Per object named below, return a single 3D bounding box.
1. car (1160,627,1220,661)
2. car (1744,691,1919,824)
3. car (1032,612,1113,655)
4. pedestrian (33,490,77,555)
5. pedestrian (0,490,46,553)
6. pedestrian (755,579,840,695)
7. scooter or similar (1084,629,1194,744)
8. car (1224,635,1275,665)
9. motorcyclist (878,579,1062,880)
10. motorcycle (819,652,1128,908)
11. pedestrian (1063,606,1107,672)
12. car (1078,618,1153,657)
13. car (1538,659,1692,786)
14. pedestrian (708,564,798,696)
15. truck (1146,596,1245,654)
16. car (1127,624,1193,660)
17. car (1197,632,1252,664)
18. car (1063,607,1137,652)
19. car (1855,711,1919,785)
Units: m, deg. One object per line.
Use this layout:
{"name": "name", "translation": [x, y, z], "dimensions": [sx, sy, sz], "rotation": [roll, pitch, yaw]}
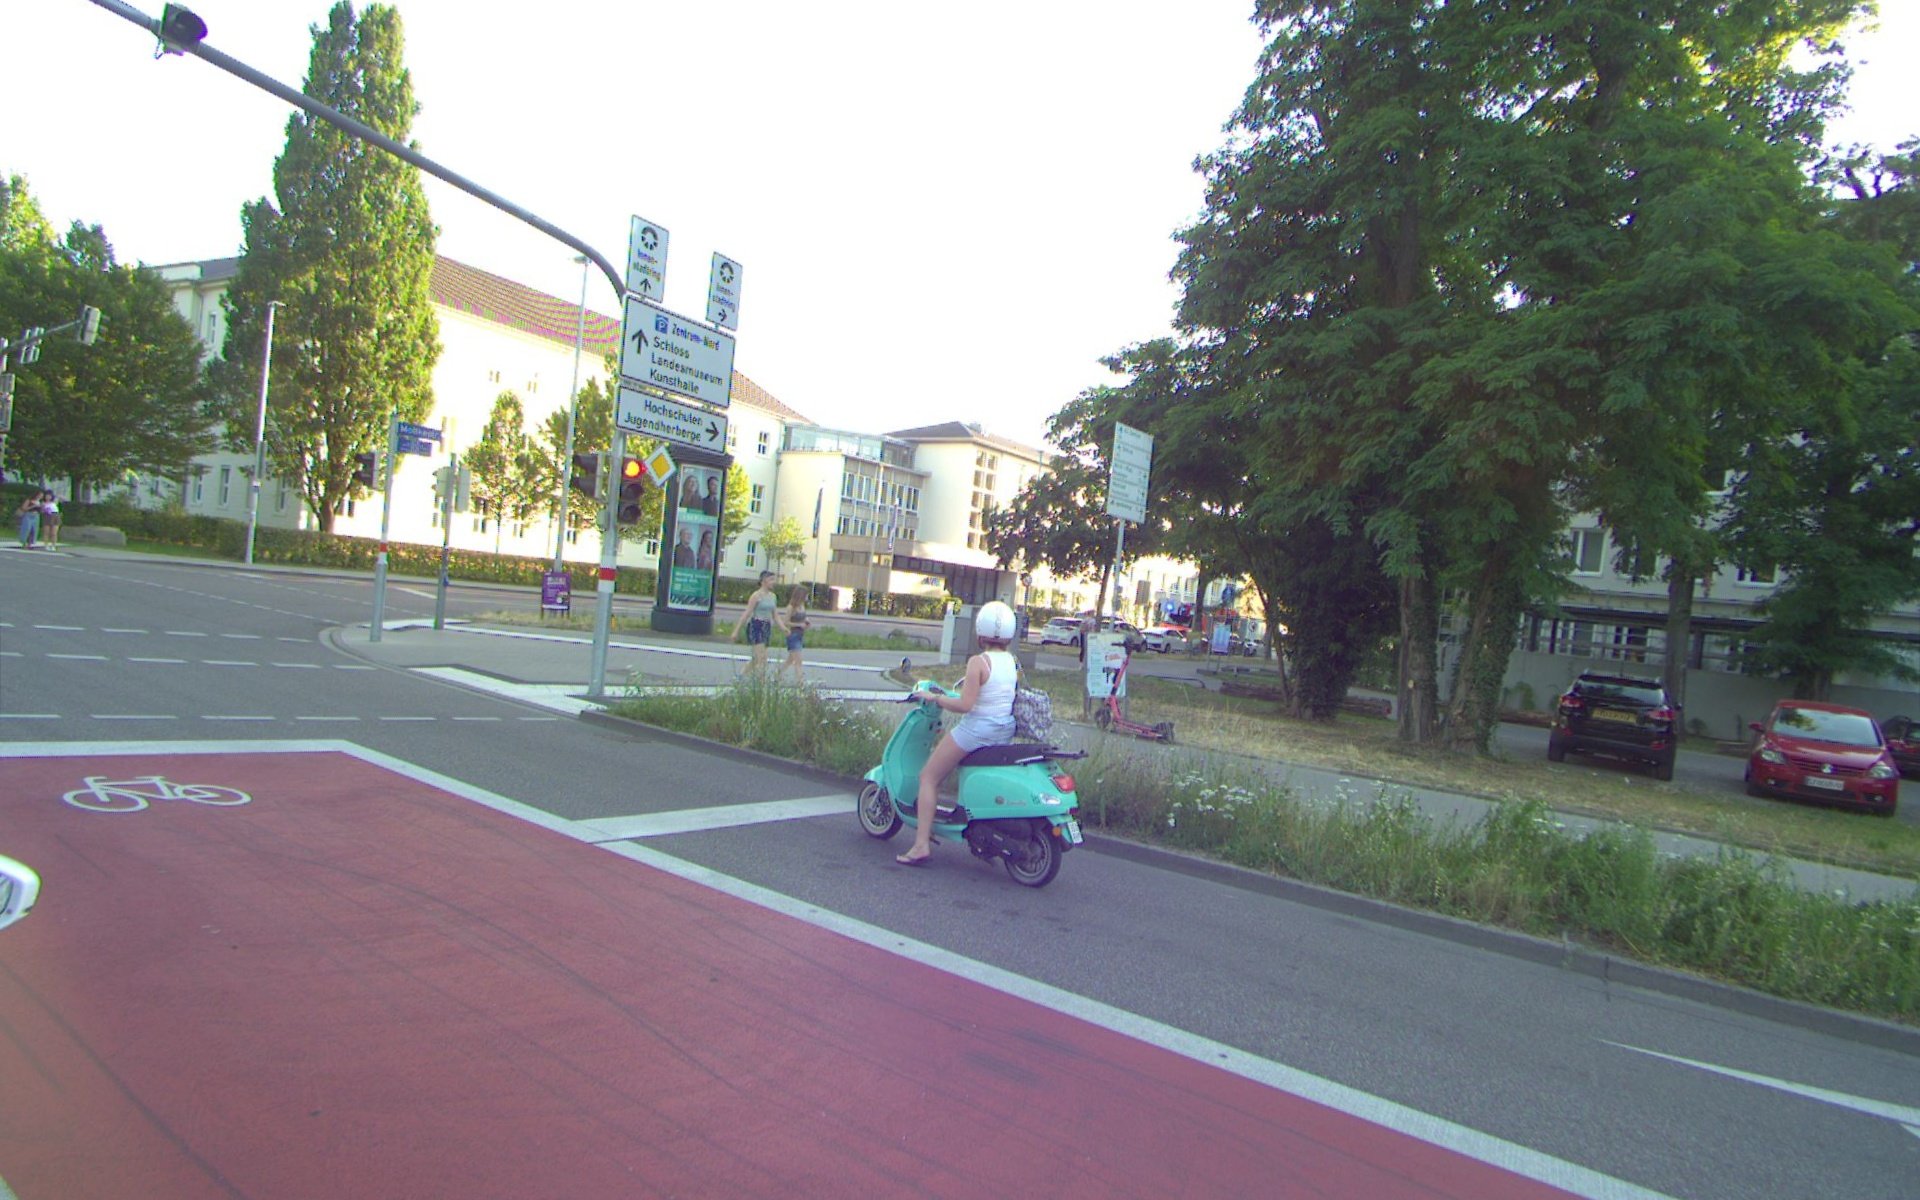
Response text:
{"name": "car", "translation": [13.741, 2.655, 59.954], "dimensions": [1.969, 1.660, 3.987], "rotation": [7, 0, 35]}
{"name": "car", "translation": [14.052, 2.421, 16.373], "dimensions": [1.890, 1.631, 3.984], "rotation": [7, 0, 38]}
{"name": "car", "translation": [5.376, 1.606, 47.684], "dimensions": [1.872, 1.660, 3.983], "rotation": [7, 0, 38]}
{"name": "pedestrian", "translation": [-26.181, -2.239, 29.104], "dimensions": [0.677, 1.776, 0.681], "rotation": [8, 2, 31]}
{"name": "pedestrian", "translation": [-26.554, -2.219, 28.503], "dimensions": [0.831, 1.643, 0.681], "rotation": [8, 2, 32]}
{"name": "pedestrian", "translation": [-2.321, 0.531, 14.382], "dimensions": [0.776, 1.542, 0.735], "rotation": [7, 1, 33]}
{"name": "scooter or similar", "translation": [2.265, 1.080, 12.758], "dimensions": [1.159, 1.288, 0.440], "rotation": [7, 1, 31]}
{"name": "car", "translation": [19.660, 3.405, 68.203], "dimensions": [1.969, 1.660, 3.987], "rotation": [7, 0, 35]}
{"name": "motorcyclist", "translation": [0.070, 0.800, 6.492], "dimensions": [0.680, 1.758, 0.737], "rotation": [7, 1, 40]}
{"name": "motorcycle", "translation": [0.033, 1.067, 6.495], "dimensions": [1.866, 1.212, 0.681], "rotation": [7, 0, 40]}
{"name": "pedestrian", "translation": [3.567, 1.116, 28.748], "dimensions": [0.694, 1.761, 0.892], "rotation": [7, 1, 40]}
{"name": "car", "translation": [7.964, 1.915, 51.244], "dimensions": [1.970, 1.632, 3.985], "rotation": [7, 0, 37]}
{"name": "car", "translation": [11.770, 2.091, 17.951], "dimensions": [1.890, 1.762, 4.223], "rotation": [7, 0, 37]}
{"name": "pedestrian", "translation": [-2.805, 0.404, 13.669], "dimensions": [0.764, 1.681, 0.719], "rotation": [7, 1, 32]}
{"name": "truck", "translation": [15.928, 1.776, 67.365], "dimensions": [2.599, 3.179, 10.243], "rotation": [6, 0, 35]}
{"name": "car", "translation": [11.018, 2.320, 55.166], "dimensions": [1.969, 1.660, 3.987], "rotation": [7, 0, 35]}
{"name": "car", "translation": [16.736, 3.033, 63.526], "dimensions": [1.969, 1.660, 3.987], "rotation": [7, 0, 35]}
{"name": "car", "translation": [7.737, 1.649, 55.275], "dimensions": [2.024, 1.884, 4.486], "rotation": [7, -2, 35]}
{"name": "car", "translation": [22.998, 3.583, 24.040], "dimensions": [1.742, 1.477, 3.618], "rotation": [7, 0, 33]}
